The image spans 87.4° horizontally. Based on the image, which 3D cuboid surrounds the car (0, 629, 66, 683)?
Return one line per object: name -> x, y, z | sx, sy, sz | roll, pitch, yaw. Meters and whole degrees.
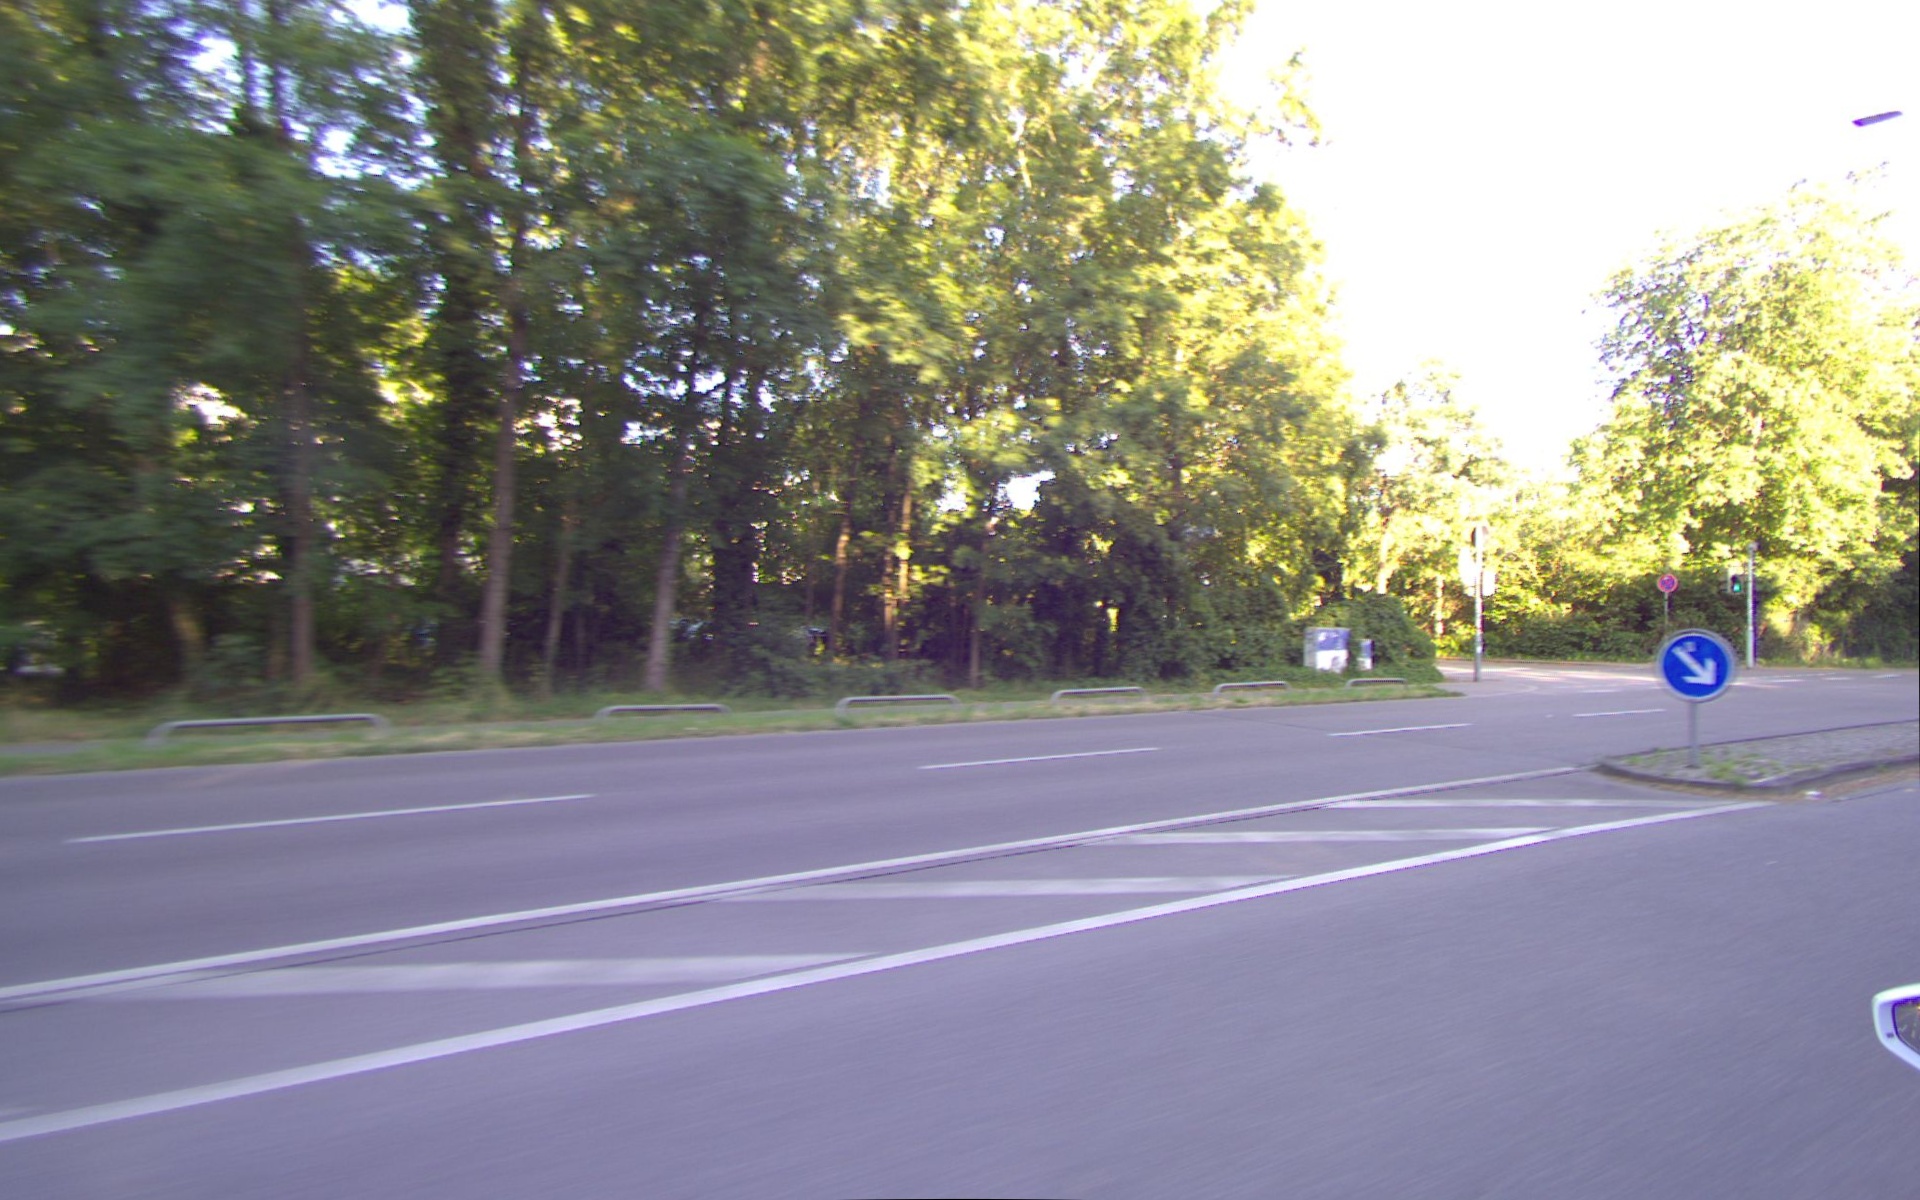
car -> -29.668, 1.716, 31.430 | 1.761, 1.503, 3.967 | 1, -1, -31
